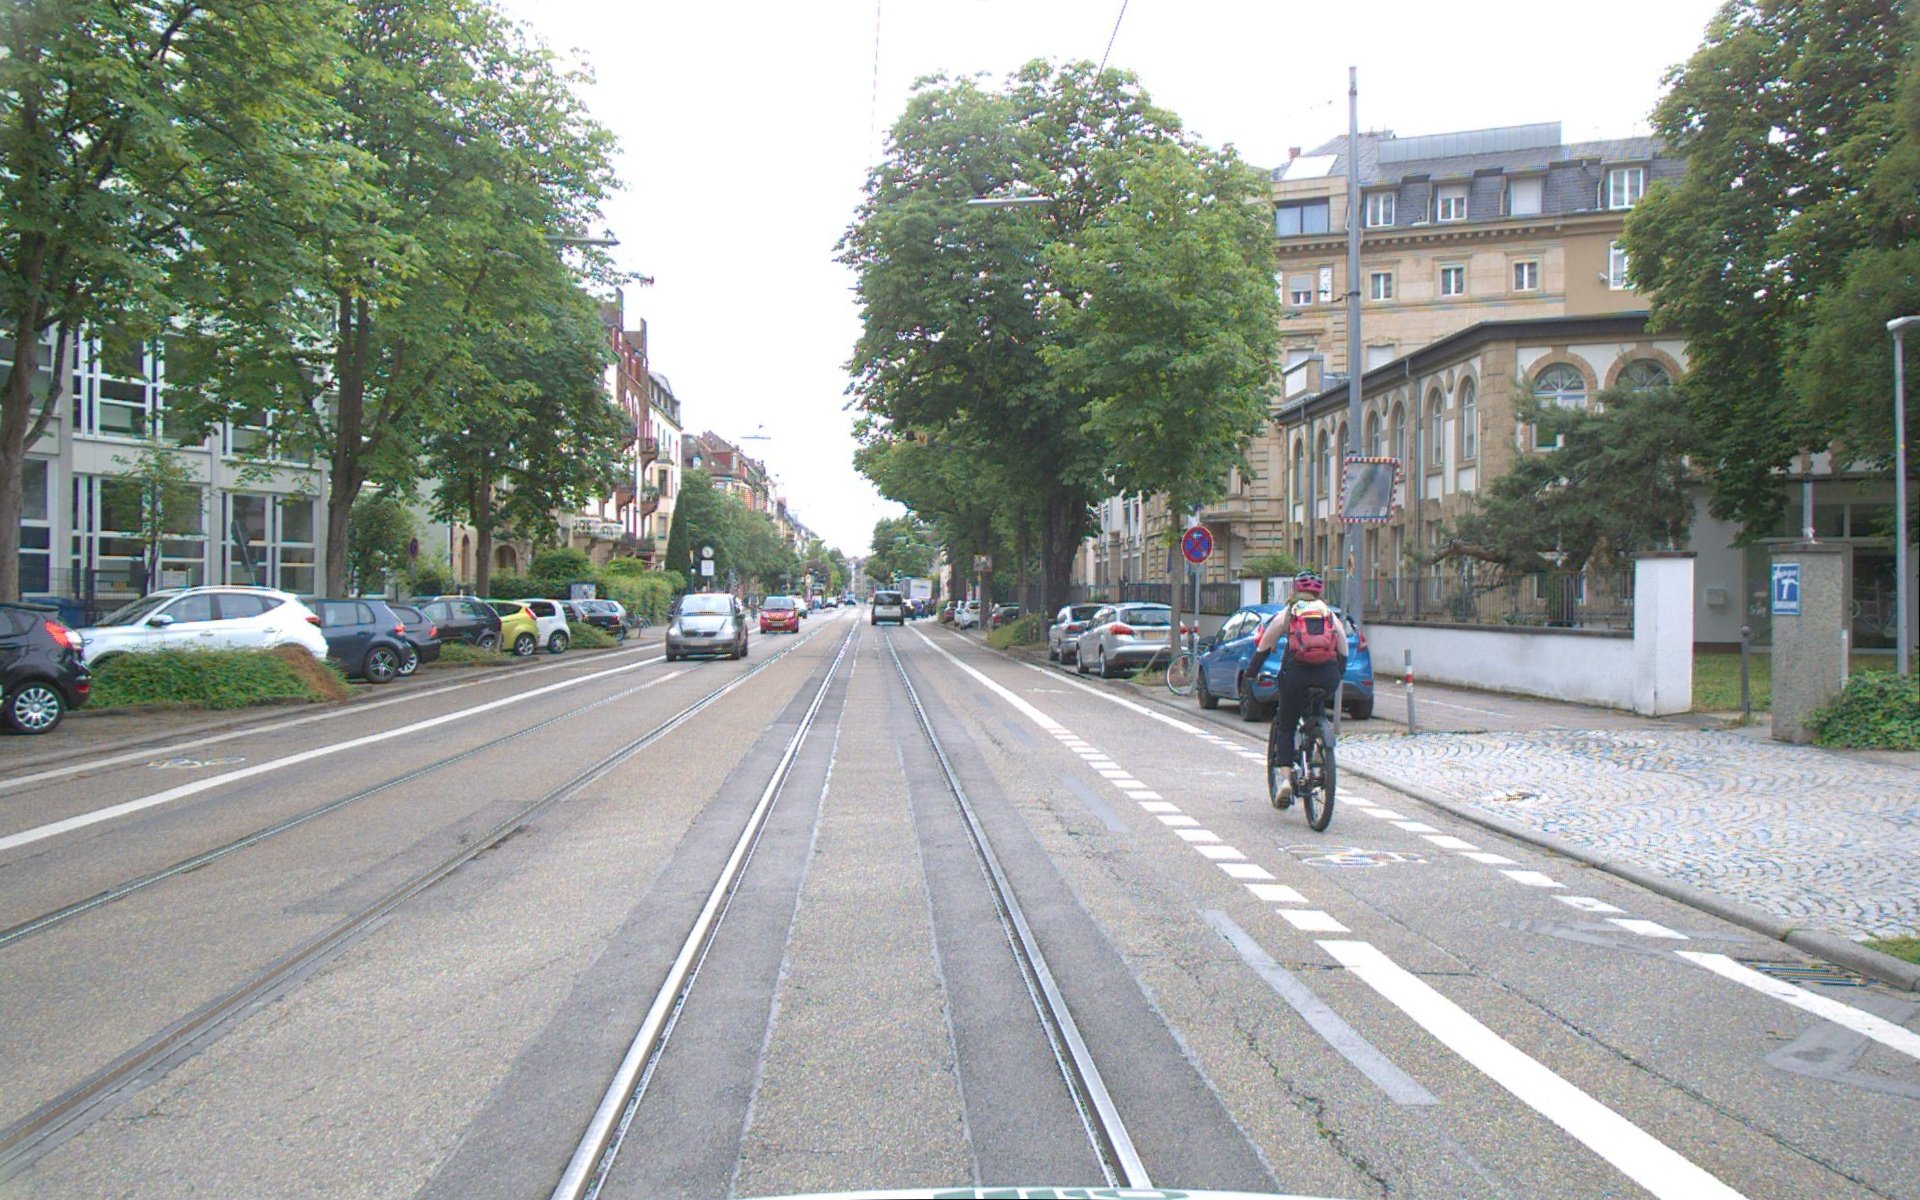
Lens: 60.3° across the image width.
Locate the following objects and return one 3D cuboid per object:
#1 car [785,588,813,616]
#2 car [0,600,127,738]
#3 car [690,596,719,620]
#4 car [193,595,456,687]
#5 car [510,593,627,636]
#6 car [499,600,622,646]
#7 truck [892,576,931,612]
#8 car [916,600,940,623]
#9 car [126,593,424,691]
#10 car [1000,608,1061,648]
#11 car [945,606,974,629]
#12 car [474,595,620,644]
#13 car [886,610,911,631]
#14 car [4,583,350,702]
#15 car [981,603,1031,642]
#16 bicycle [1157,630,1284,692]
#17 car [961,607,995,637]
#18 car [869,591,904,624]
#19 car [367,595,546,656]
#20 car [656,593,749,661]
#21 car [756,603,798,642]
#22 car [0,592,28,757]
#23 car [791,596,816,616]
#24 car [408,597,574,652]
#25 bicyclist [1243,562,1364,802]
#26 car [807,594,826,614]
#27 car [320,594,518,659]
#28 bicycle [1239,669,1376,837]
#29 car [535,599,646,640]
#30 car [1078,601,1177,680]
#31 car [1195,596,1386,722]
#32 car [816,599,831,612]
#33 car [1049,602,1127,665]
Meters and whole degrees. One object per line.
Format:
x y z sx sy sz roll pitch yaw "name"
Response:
-14.741 0.169 151.465 2.160 2.460 4.000 0 0 1 "car"
-11.205 0.710 17.491 3.993 1.430 1.675 2 0 -41 "car"
-24.047 0.742 155.784 2.134 2.246 4.217 0 0 -2 "car"
-11.800 0.744 30.937 1.669 1.562 4.321 1 0 41 "car"
-13.562 0.507 57.308 3.664 1.410 1.685 2 0 -28 "car"
-13.171 0.745 54.540 3.664 1.410 1.685 2 0 -28 "car"
-5.684 -0.696 191.436 3.734 4.100 10.204 0 0 -6 "truck"
-2.631 0.908 135.794 1.953 1.825 3.999 0 0 -2 "car"
-11.384 0.681 27.712 1.669 1.479 4.321 1 0 41 "car"
2.333 0.906 55.558 1.835 1.273 3.999 0 0 -1 "car"
-0.051 1.070 102.713 1.734 1.423 3.794 0 0 -1 "car"
-12.172 0.581 48.942 1.669 1.375 3.945 1 0 41 "car"
-4.504 1.491 121.483 1.734 1.423 3.794 0 0 -1 "car"
-11.444 0.600 24.430 1.667 1.583 4.327 1 0 38 "car"
1.755 0.833 63.716 1.755 1.423 3.794 0 0 -1 "car"
4.214 0.975 26.764 1.974 0.974 0.533 0 0 -7 "bicycle"
0.879 1.068 82.607 1.633 1.423 3.660 0 0 -1 "car"
-3.993 0.440 90.680 1.775 1.738 3.698 1 -1 -1 "car"
-12.337 0.627 40.699 1.669 1.375 3.945 1 0 41 "car"
-6.242 0.618 40.473 1.863 1.557 3.751 -1 0 -3 "car"
-7.597 0.923 68.856 1.644 1.549 2.778 1 -1 -5 "car"
-10.740 0.648 14.729 3.993 1.510 1.675 2 0 -41 "car"
-11.539 0.457 121.627 1.707 1.454 3.994 0 0 -7 "car"
-12.361 0.653 43.753 1.669 1.375 3.945 1 0 41 "car"
2.430 0.557 11.763 0.644 1.639 0.919 0 0 -2 "bicyclist"
-16.953 0.478 195.436 2.161 2.295 3.998 0 0 -3 "car"
-12.185 0.601 37.415 1.669 1.375 3.945 1 0 41 "car"
2.451 1.047 11.866 0.479 0.996 2.057 1 0 -2 "bicycle"
-13.523 0.713 60.623 3.664 1.410 1.685 2 0 -28 "car"
3.385 0.791 33.991 1.446 1.507 3.563 1 0 -4 "car"
4.317 0.719 22.072 1.641 1.486 3.430 -2 0 -4 "car"
-18.909 0.756 229.046 1.736 1.672 3.566 0 0 1 "car"
3.130 0.801 41.093 1.446 1.454 3.563 -1 0 -4 "car"
